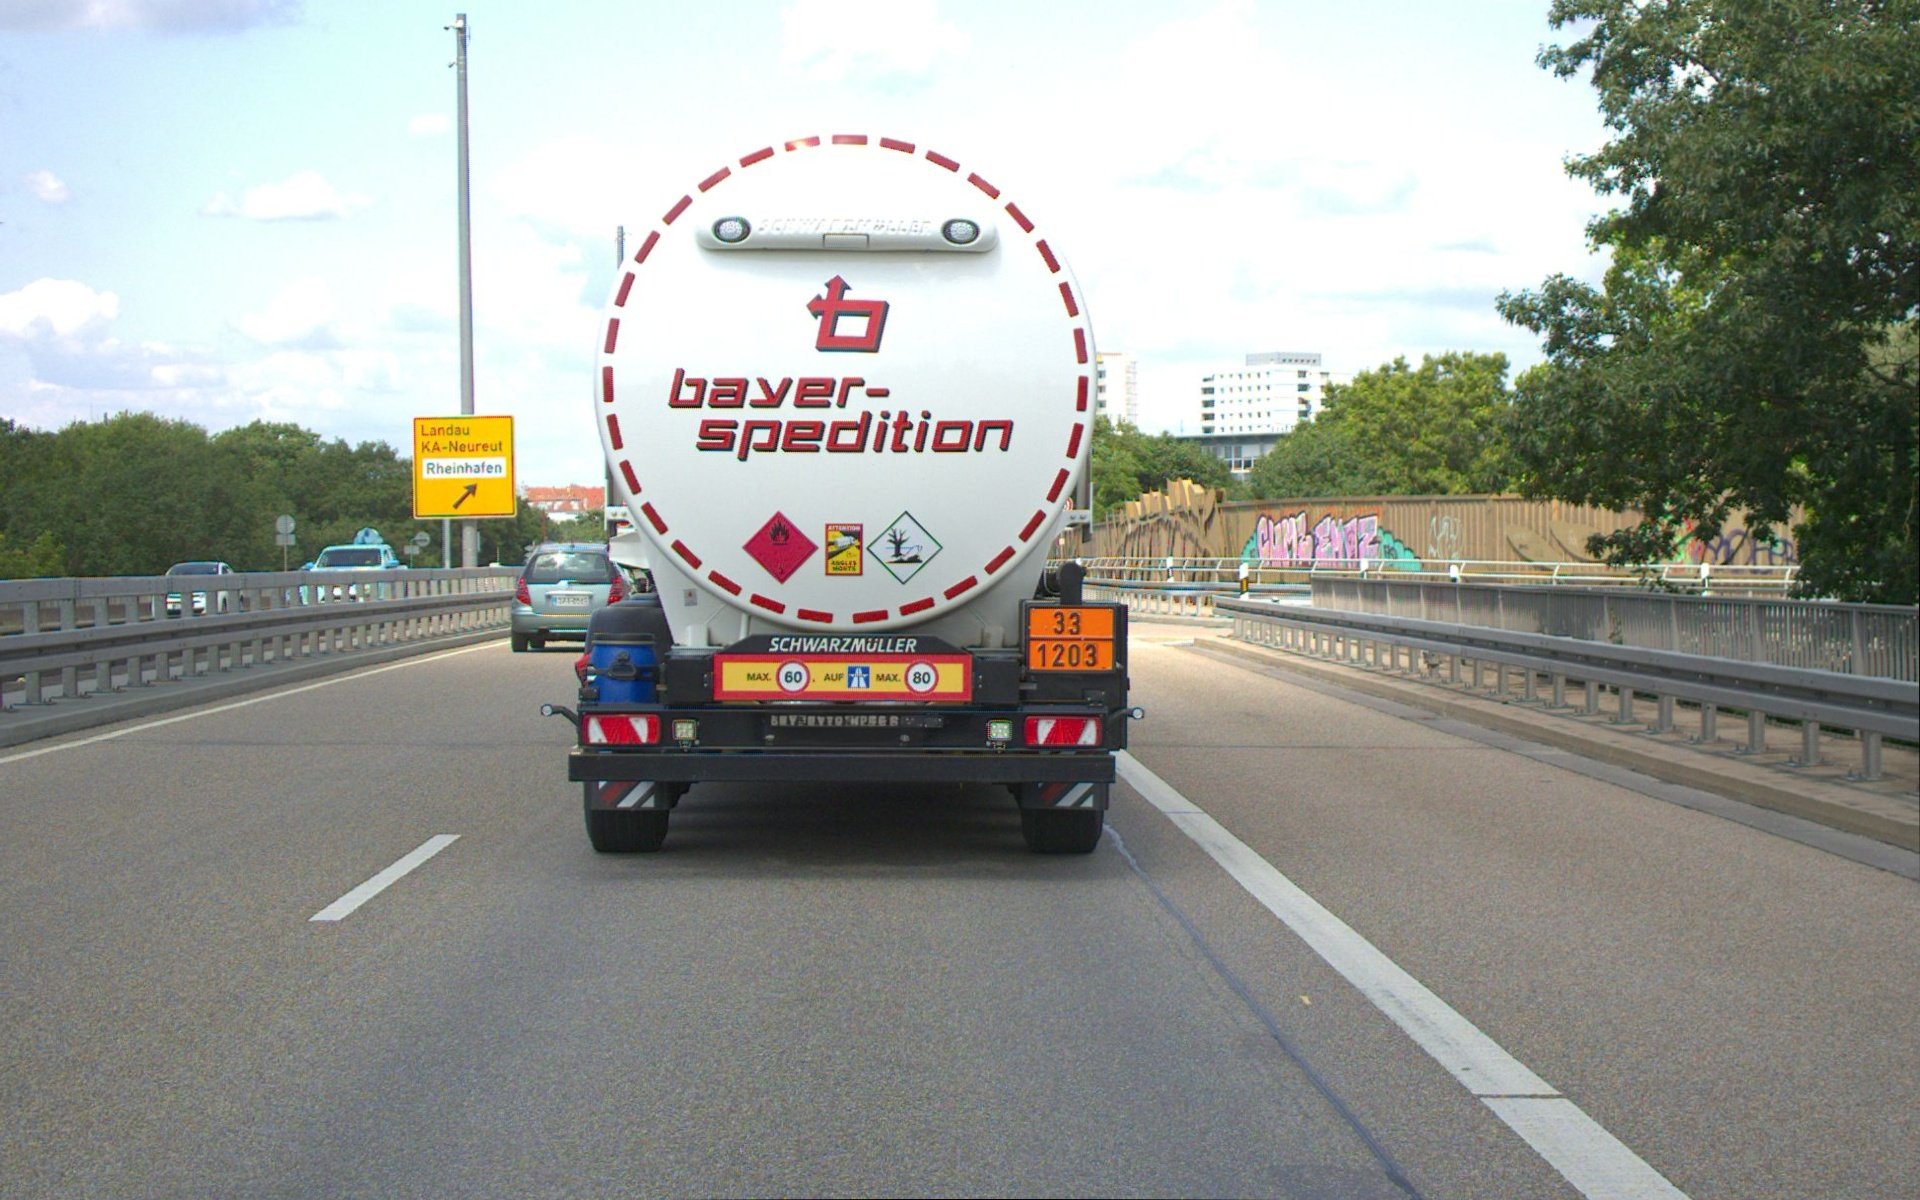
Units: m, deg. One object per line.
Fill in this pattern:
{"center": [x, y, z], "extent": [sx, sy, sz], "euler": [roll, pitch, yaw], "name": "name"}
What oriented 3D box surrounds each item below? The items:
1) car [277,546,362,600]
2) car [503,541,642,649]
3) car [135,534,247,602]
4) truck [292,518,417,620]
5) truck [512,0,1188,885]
{"center": [-18.626, -0.800, 100.165], "extent": [1.902, 1.524, 4.244], "euler": [1, 1, -4], "name": "car"}
{"center": [-5.735, -0.106, 51.275], "extent": [1.747, 1.526, 4.001], "euler": [0, 1, -2], "name": "car"}
{"center": [-18.653, -0.785, 83.501], "extent": [1.829, 1.576, 3.954], "euler": [1, 1, 0], "name": "car"}
{"center": [-13.487, -0.704, 76.874], "extent": [1.873, 2.179, 5.188], "euler": [1, 1, 0], "name": "truck"}
{"center": [-0.629, -1.008, 19.037], "extent": [2.895, 4.354, 8.030], "euler": [1, 1, -2], "name": "truck"}
